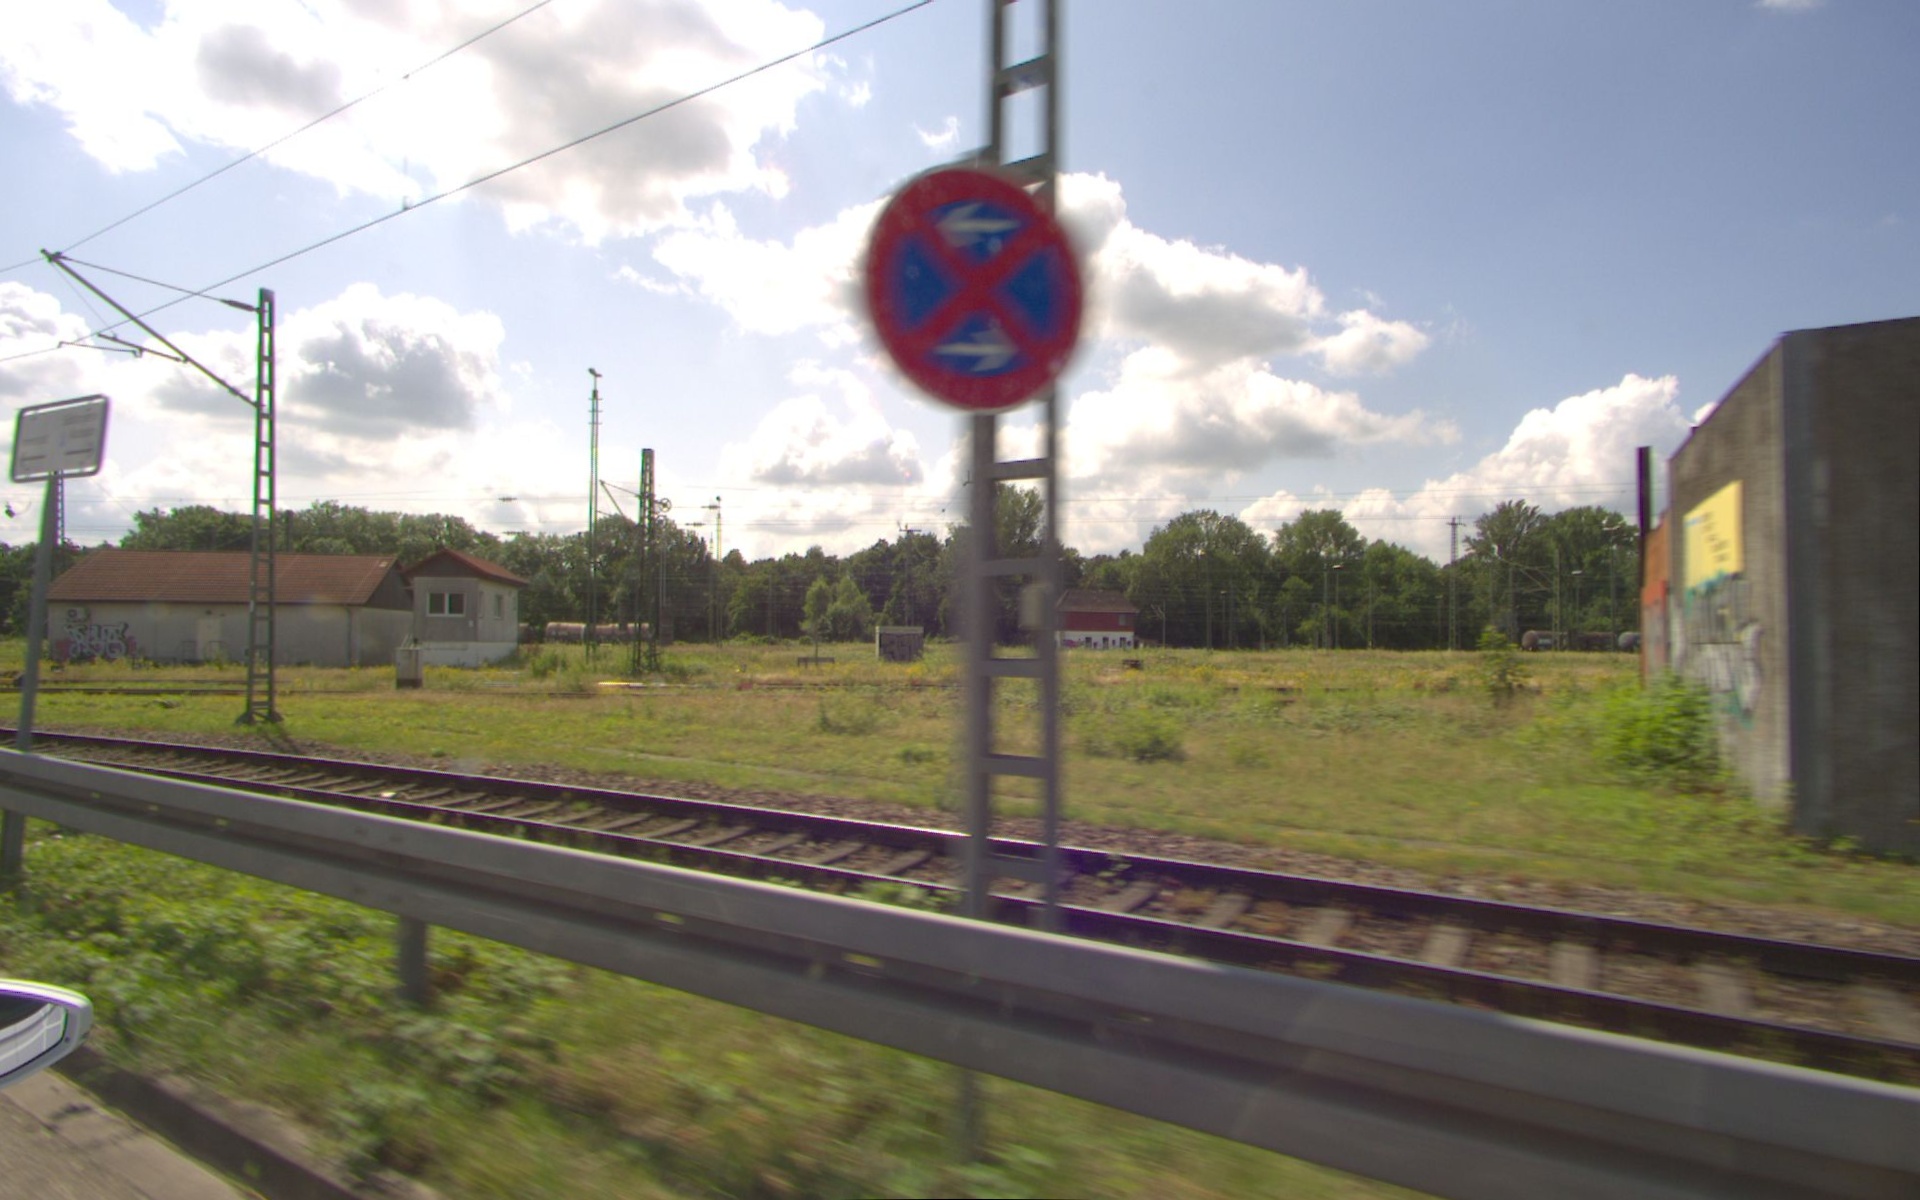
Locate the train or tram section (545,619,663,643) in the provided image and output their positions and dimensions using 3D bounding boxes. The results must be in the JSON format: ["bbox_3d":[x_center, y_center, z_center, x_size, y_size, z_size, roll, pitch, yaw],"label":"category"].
[{"bbox_3d":[-50.299,4.368,141.858,15.468,3.347,3.033,0,-2,-12],"label":"train or tram section"}]
